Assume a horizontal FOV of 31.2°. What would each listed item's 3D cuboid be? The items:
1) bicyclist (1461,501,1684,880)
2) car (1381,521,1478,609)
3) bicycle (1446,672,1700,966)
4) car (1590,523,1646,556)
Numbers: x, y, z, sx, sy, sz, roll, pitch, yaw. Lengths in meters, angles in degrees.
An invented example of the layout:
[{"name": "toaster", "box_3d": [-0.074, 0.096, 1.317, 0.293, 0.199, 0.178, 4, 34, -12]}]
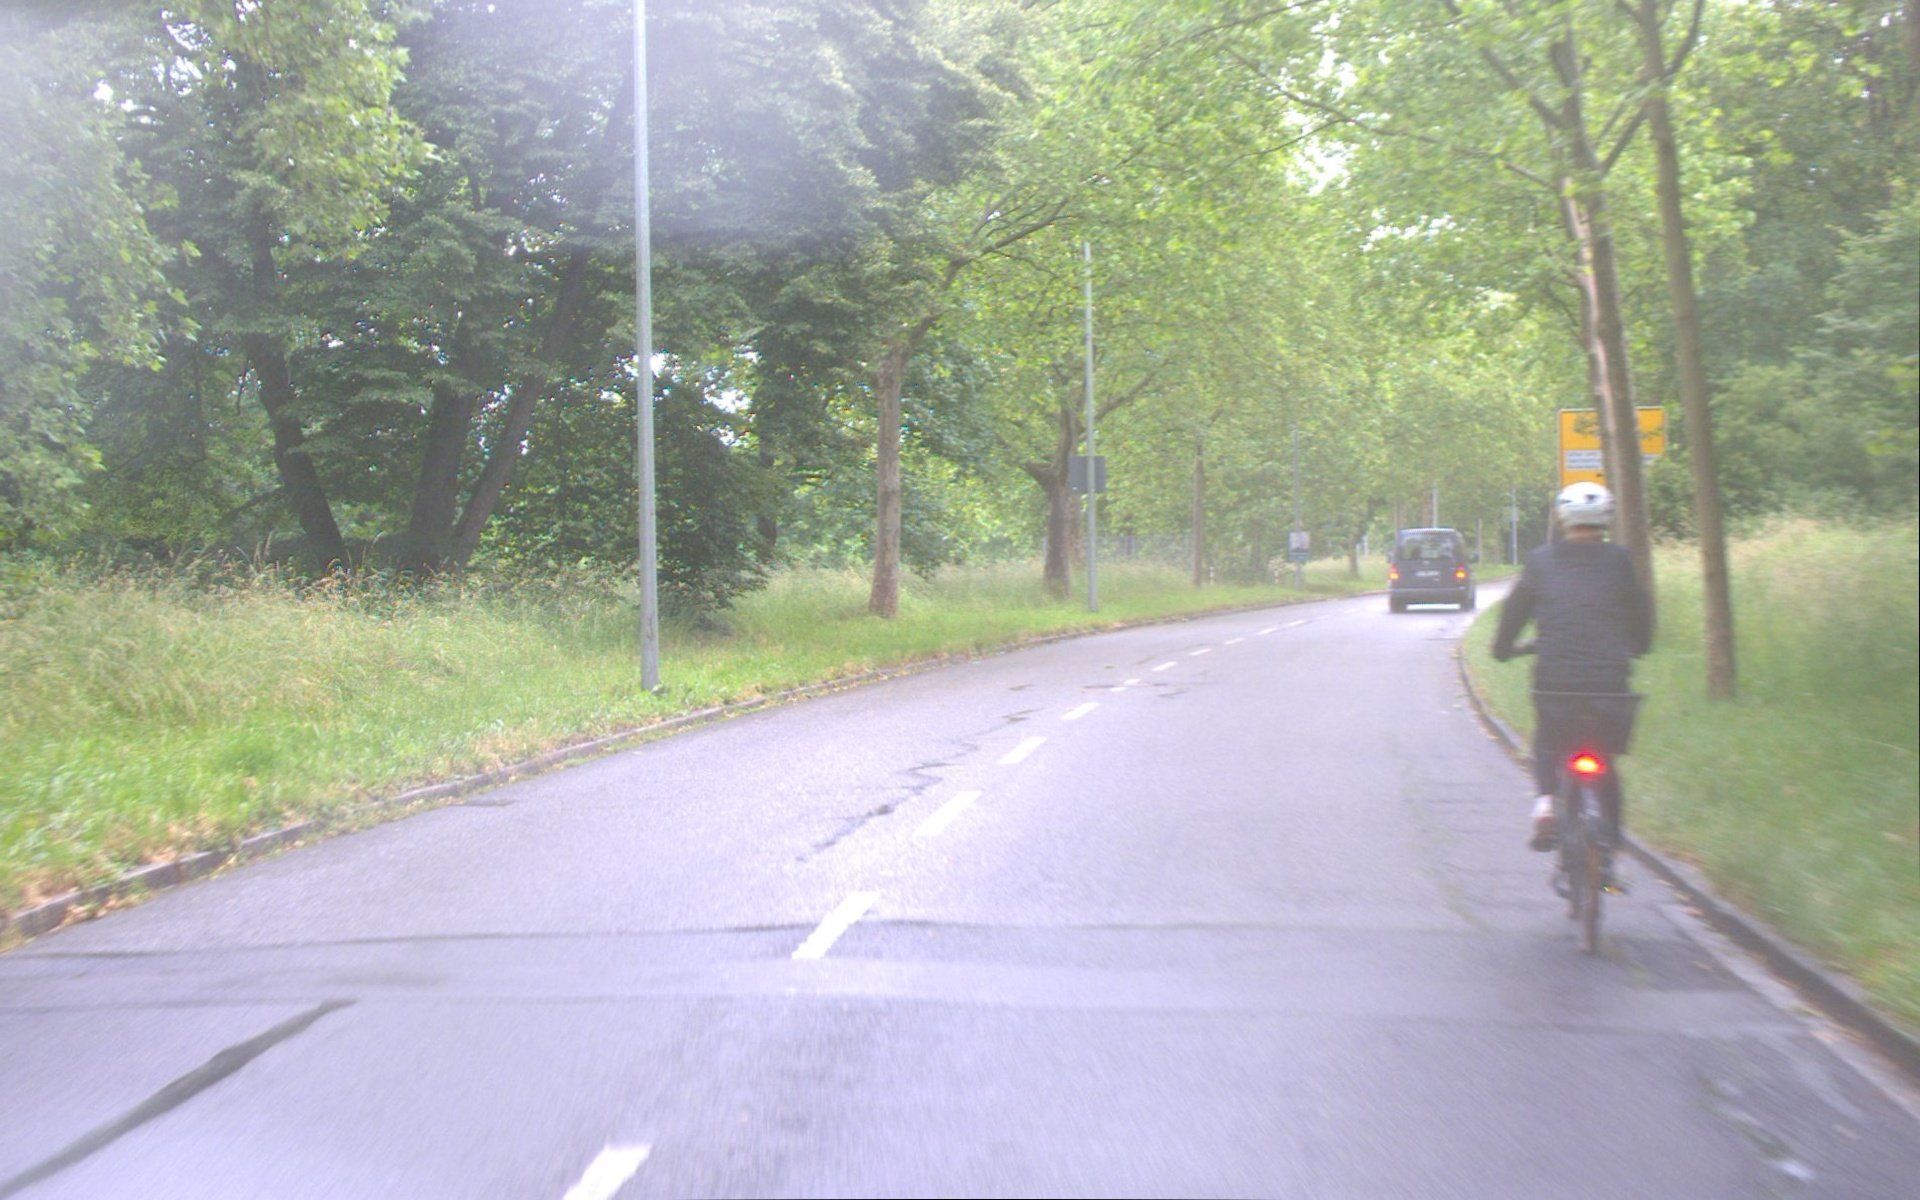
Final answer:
[{"name": "bicyclist", "box_3d": [2.362, 0.329, 13.342, 0.730, 1.406, 0.973, 1, 1, 4]}, {"name": "car", "box_3d": [10.507, -0.797, 76.773, 1.986, 1.919, 3.998, 0, 1, 10]}, {"name": "bicycle", "box_3d": [2.366, 0.812, 13.498, 0.730, 0.970, 2.173, 1, 1, 4]}, {"name": "car", "box_3d": [30.997, -2.854, 161.935, 1.796, 1.505, 3.995, 0, 1, 23]}]
